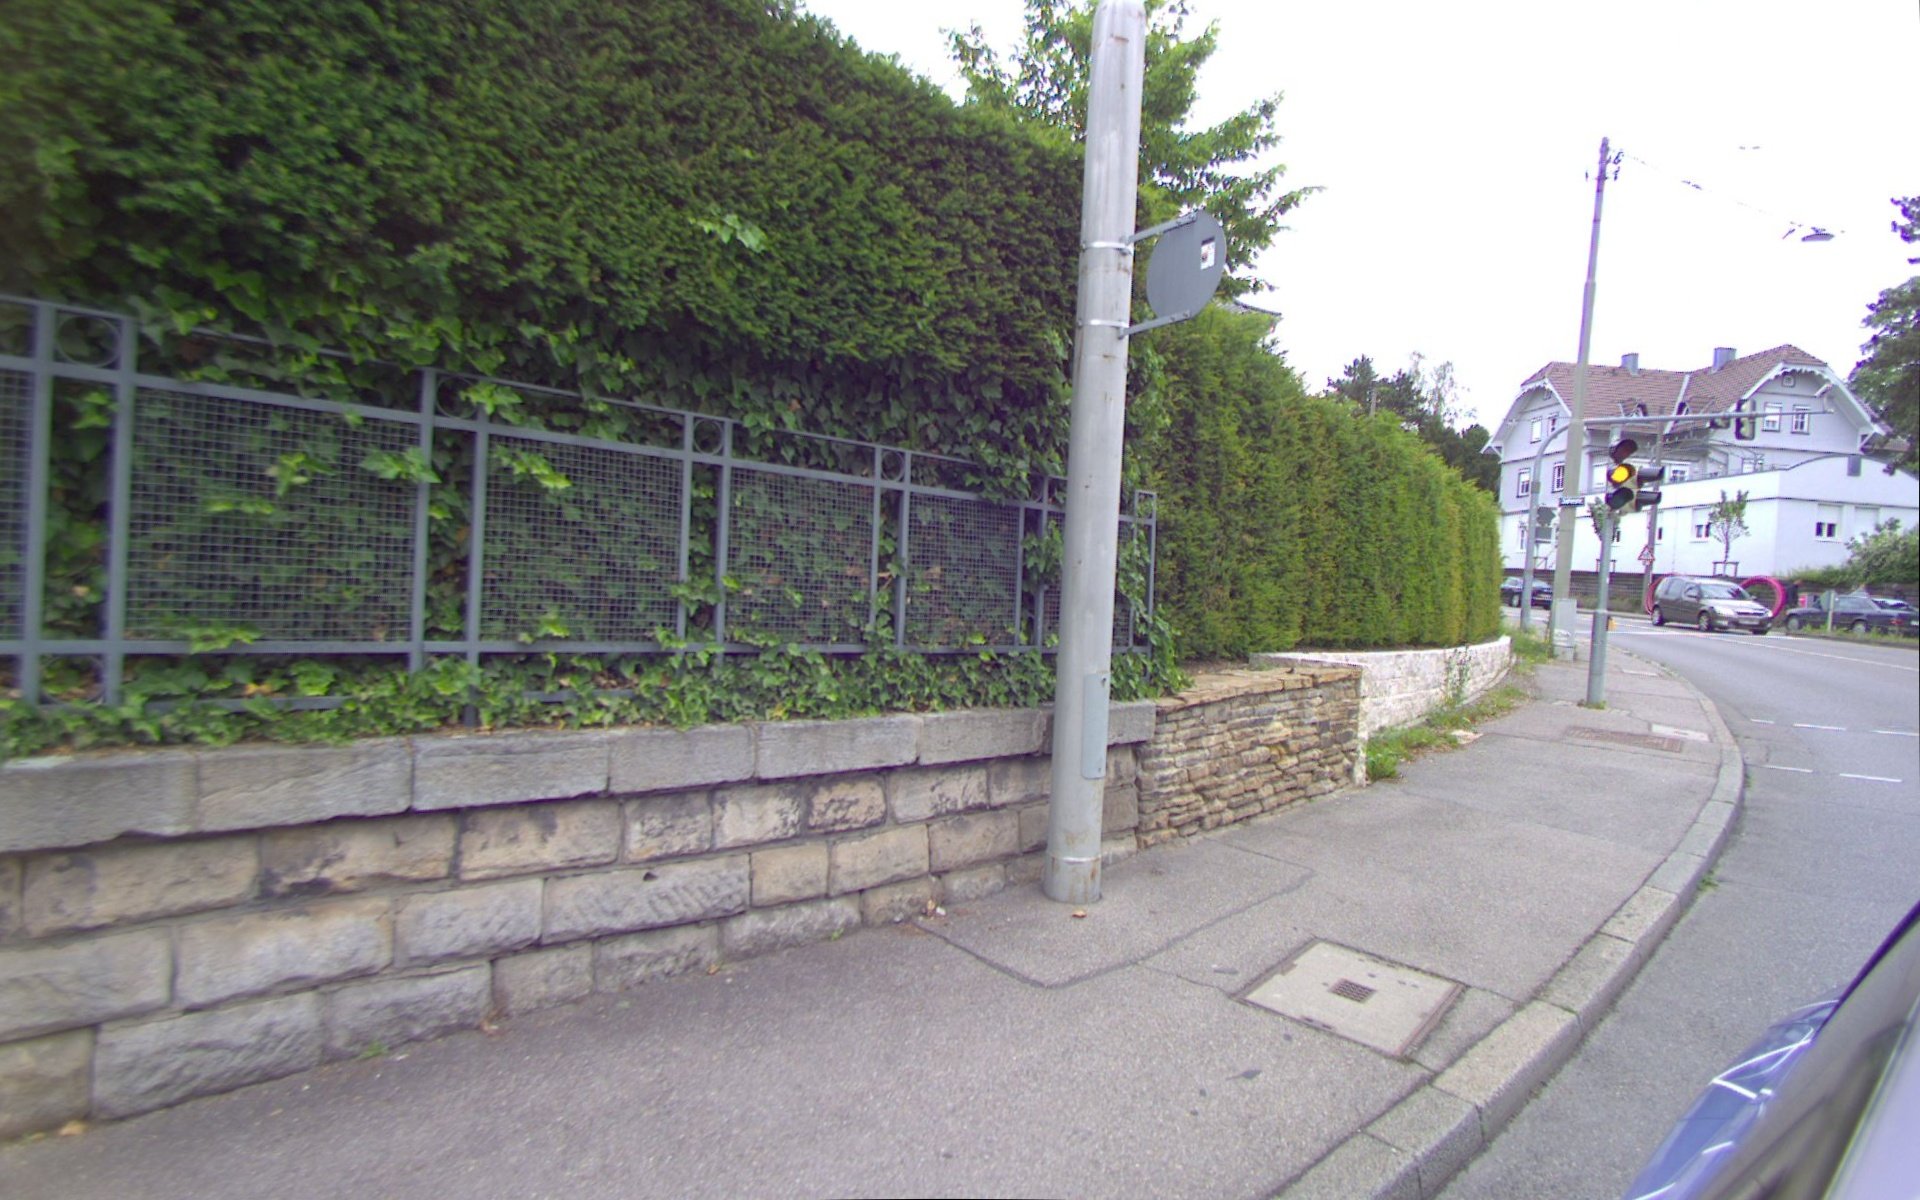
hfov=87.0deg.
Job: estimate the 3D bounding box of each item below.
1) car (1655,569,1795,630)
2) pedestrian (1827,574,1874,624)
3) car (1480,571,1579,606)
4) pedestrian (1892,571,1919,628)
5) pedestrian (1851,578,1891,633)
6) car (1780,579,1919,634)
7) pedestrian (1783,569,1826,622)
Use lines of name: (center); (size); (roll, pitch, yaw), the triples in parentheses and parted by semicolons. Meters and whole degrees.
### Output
car: (22.765, -0.071, 30.311); (1.592, 1.599, 3.992); (2, 3, 9)
pedestrian: (31.495, -0.038, 35.801); (0.862, 1.673, 0.753); (3, 2, -7)
car: (27.179, -0.579, 48.518); (1.963, 1.440, 5.056); (2, 3, 2)
pedestrian: (31.740, -0.006, 33.749); (0.591, 1.857, 0.614); (3, 2, -9)
pedestrian: (31.055, 0.173, 34.517); (0.600, 1.809, 0.668); (3, 2, -9)
car: (27.731, 0.177, 30.704); (1.818, 1.344, 4.867); (3, 3, 3)
pedestrian: (30.652, -0.176, 36.742); (0.862, 1.836, 0.689); (3, 2, -7)
